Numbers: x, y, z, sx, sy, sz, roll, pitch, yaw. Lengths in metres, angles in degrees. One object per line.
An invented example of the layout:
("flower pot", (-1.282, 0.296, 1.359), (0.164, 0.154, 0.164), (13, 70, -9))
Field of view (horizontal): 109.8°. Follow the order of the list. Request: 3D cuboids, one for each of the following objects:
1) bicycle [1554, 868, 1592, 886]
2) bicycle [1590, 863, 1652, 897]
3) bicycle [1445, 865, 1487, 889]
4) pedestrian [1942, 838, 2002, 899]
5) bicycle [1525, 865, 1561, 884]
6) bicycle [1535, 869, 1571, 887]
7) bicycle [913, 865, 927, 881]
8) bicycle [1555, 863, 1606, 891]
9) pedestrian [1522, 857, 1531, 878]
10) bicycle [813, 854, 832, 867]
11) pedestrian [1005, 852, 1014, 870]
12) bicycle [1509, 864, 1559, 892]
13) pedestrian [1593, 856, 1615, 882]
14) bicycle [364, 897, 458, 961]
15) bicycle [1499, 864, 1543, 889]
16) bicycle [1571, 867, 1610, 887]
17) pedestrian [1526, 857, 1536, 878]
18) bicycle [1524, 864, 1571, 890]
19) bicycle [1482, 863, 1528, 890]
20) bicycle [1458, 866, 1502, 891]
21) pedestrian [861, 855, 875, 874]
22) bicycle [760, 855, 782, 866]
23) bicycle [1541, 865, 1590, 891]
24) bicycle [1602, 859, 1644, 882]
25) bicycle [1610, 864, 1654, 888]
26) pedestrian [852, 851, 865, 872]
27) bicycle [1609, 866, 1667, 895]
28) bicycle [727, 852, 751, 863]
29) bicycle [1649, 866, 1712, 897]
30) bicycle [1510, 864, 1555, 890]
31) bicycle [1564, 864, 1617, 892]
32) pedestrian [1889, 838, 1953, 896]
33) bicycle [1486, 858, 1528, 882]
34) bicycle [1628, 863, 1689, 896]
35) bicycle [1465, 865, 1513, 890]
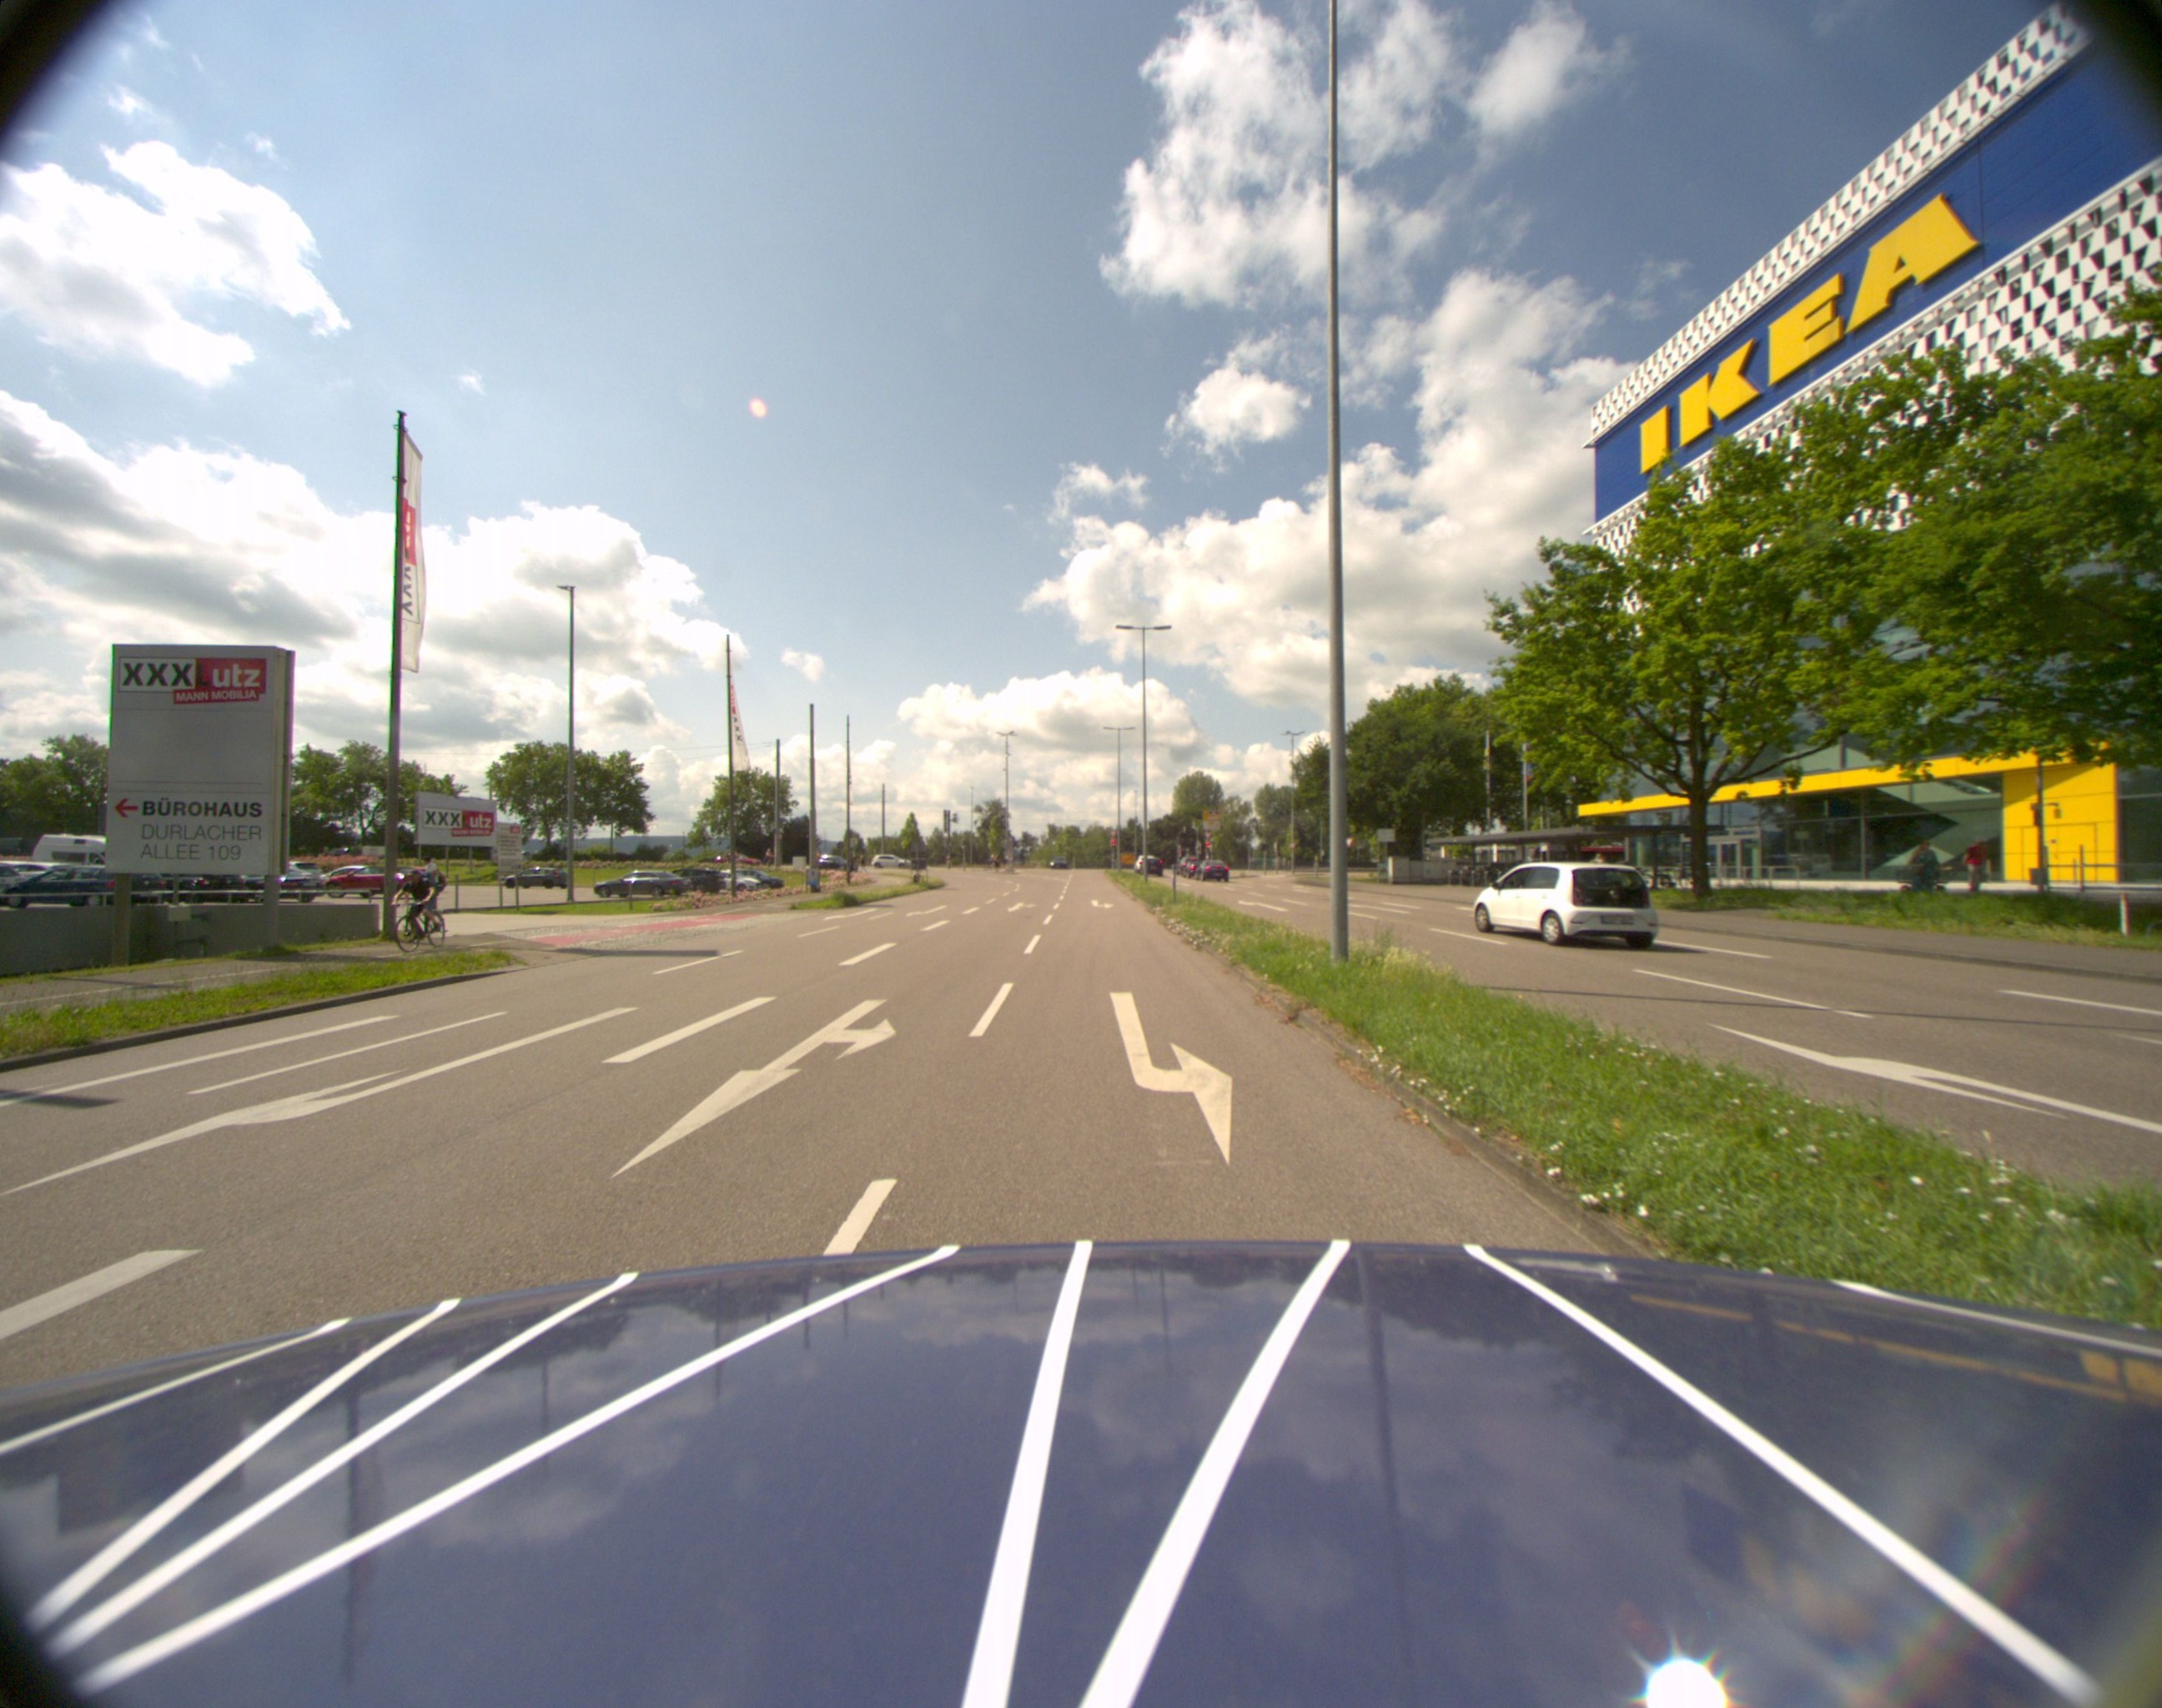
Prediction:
("bicycle", (28.971, 1.356, 44.731), (1.939, 1.064, 0.529), (0, 0, -4))
("bicycle", (20.831, 1.002, 29.332), (1.930, 1.265, 0.630), (-1, -1, 0))
("bicycle", (20.948, 1.236, 41.320), (1.930, 1.265, 0.630), (-1, -1, 0))
("pedestrian", (27.064, 0.432, 23.095), (0.755, 1.812, 0.887), (-1, 0, 1))
("bicycle", (28.572, 1.255, 47.033), (1.961, 1.165, 0.467), (-1, -1, -4))
("bicycle", (28.735, 1.464, 46.274), (1.939, 1.064, 0.529), (0, 0, -4))
("bicycle", (-10.088, 1.159, 47.543), (0.518, 0.947, 1.544), (-1, 0, 0))
("bicycle", (23.207, 1.046, 35.309), (1.930, 1.265, 0.630), (-1, -1, 0))
("pedestrian", (36.031, 1.111, 61.462), (0.404, 1.692, 0.450), (-1, -1, -5))
("bicycle", (-23.984, 0.622, 70.578), (1.503, 1.158, 0.621), (-1, -1, 3))
("pedestrian", (-6.948, 0.694, 74.242), (0.688, 1.718, 0.701), (0, 1, 12))
("bicycle", (21.040, 1.106, 35.310), (1.930, 1.265, 0.630), (-1, -1, 0))
("pedestrian", (33.555, 0.957, 48.751), (0.898, 1.696, 0.710), (0, 0, 0))
("bicycle", (-12.907, 1.407, 14.707), (0.626, 1.061, 1.965), (1, -1, -18))
("bicycle", (23.148, 1.177, 39.963), (1.930, 1.265, 0.630), (-1, -1, 0))
("bicycle", (29.055, 1.307, 43.318), (1.935, 1.083, 0.520), (-1, -1, -3))
("pedestrian", (36.096, 1.084, 60.918), (0.410, 1.692, 0.516), (-1, -1, -5))
("bicycle", (23.115, 1.148, 37.685), (1.930, 1.265, 0.630), (-1, -1, 0))
("bicycle", (21.008, 1.106, 37.677), (1.930, 1.265, 0.630), (-1, -1, 0))
("bicycle", (20.979, 1.277, 39.972), (1.930, 1.265, 0.630), (-1, -1, 0))
("pedestrian", (-19.483, 0.961, 69.570), (0.860, 1.755, 0.867), (-1, 0, 27))
("bicycle", (-28.899, 0.586, 70.820), (1.695, 0.955, 0.666), (-1, -1, 1))
("bicycle", (23.130, 1.139, 36.311), (1.930, 1.176, 0.630), (-1, -1, 0))
("bicycle", (29.100, 0.885, 40.813), (1.939, 1.202, 0.529), (0, 0, -4))
("bicycle", (29.102, 1.169, 40.136), (1.950, 1.236, 0.597), (0, 0, -4))
("pedestrian", (-19.685, 0.654, 67.223), (0.820, 1.792, 0.761), (0, 0, 28))
("bicycle", (23.078, 1.091, 31.518), (1.930, 1.172, 0.630), (-1, -1, 0))
("bicycle", (-32.133, 0.337, 71.302), (1.986, 0.955, 0.597), (-1, -1, 2))
("bicycle", (23.179, 1.064, 29.379), (1.930, 1.176, 0.630), (-1, -1, 0))
("bicycle", (23.184, 1.187, 39.007), (1.930, 1.265, 0.630), (-1, -1, 0))
("bicycle", (23.061, 1.081, 34.401), (1.930, 1.265, 0.630), (-1, -1, 0))
("pedestrian", (25.278, 0.394, 22.882), (0.952, 1.692, 0.887), (-1, 0, 1))
("bicycle", (23.159, 0.866, 41.314), (1.930, 1.265, 0.630), (-1, -1, 0))
("bicycle", (23.103, 1.023, 30.422), (1.930, 1.265, 0.630), (-1, -1, 0))
("bicycle", (20.884, 1.199, 38.937), (2.094, 1.265, 0.630), (-1, -1, 0))
